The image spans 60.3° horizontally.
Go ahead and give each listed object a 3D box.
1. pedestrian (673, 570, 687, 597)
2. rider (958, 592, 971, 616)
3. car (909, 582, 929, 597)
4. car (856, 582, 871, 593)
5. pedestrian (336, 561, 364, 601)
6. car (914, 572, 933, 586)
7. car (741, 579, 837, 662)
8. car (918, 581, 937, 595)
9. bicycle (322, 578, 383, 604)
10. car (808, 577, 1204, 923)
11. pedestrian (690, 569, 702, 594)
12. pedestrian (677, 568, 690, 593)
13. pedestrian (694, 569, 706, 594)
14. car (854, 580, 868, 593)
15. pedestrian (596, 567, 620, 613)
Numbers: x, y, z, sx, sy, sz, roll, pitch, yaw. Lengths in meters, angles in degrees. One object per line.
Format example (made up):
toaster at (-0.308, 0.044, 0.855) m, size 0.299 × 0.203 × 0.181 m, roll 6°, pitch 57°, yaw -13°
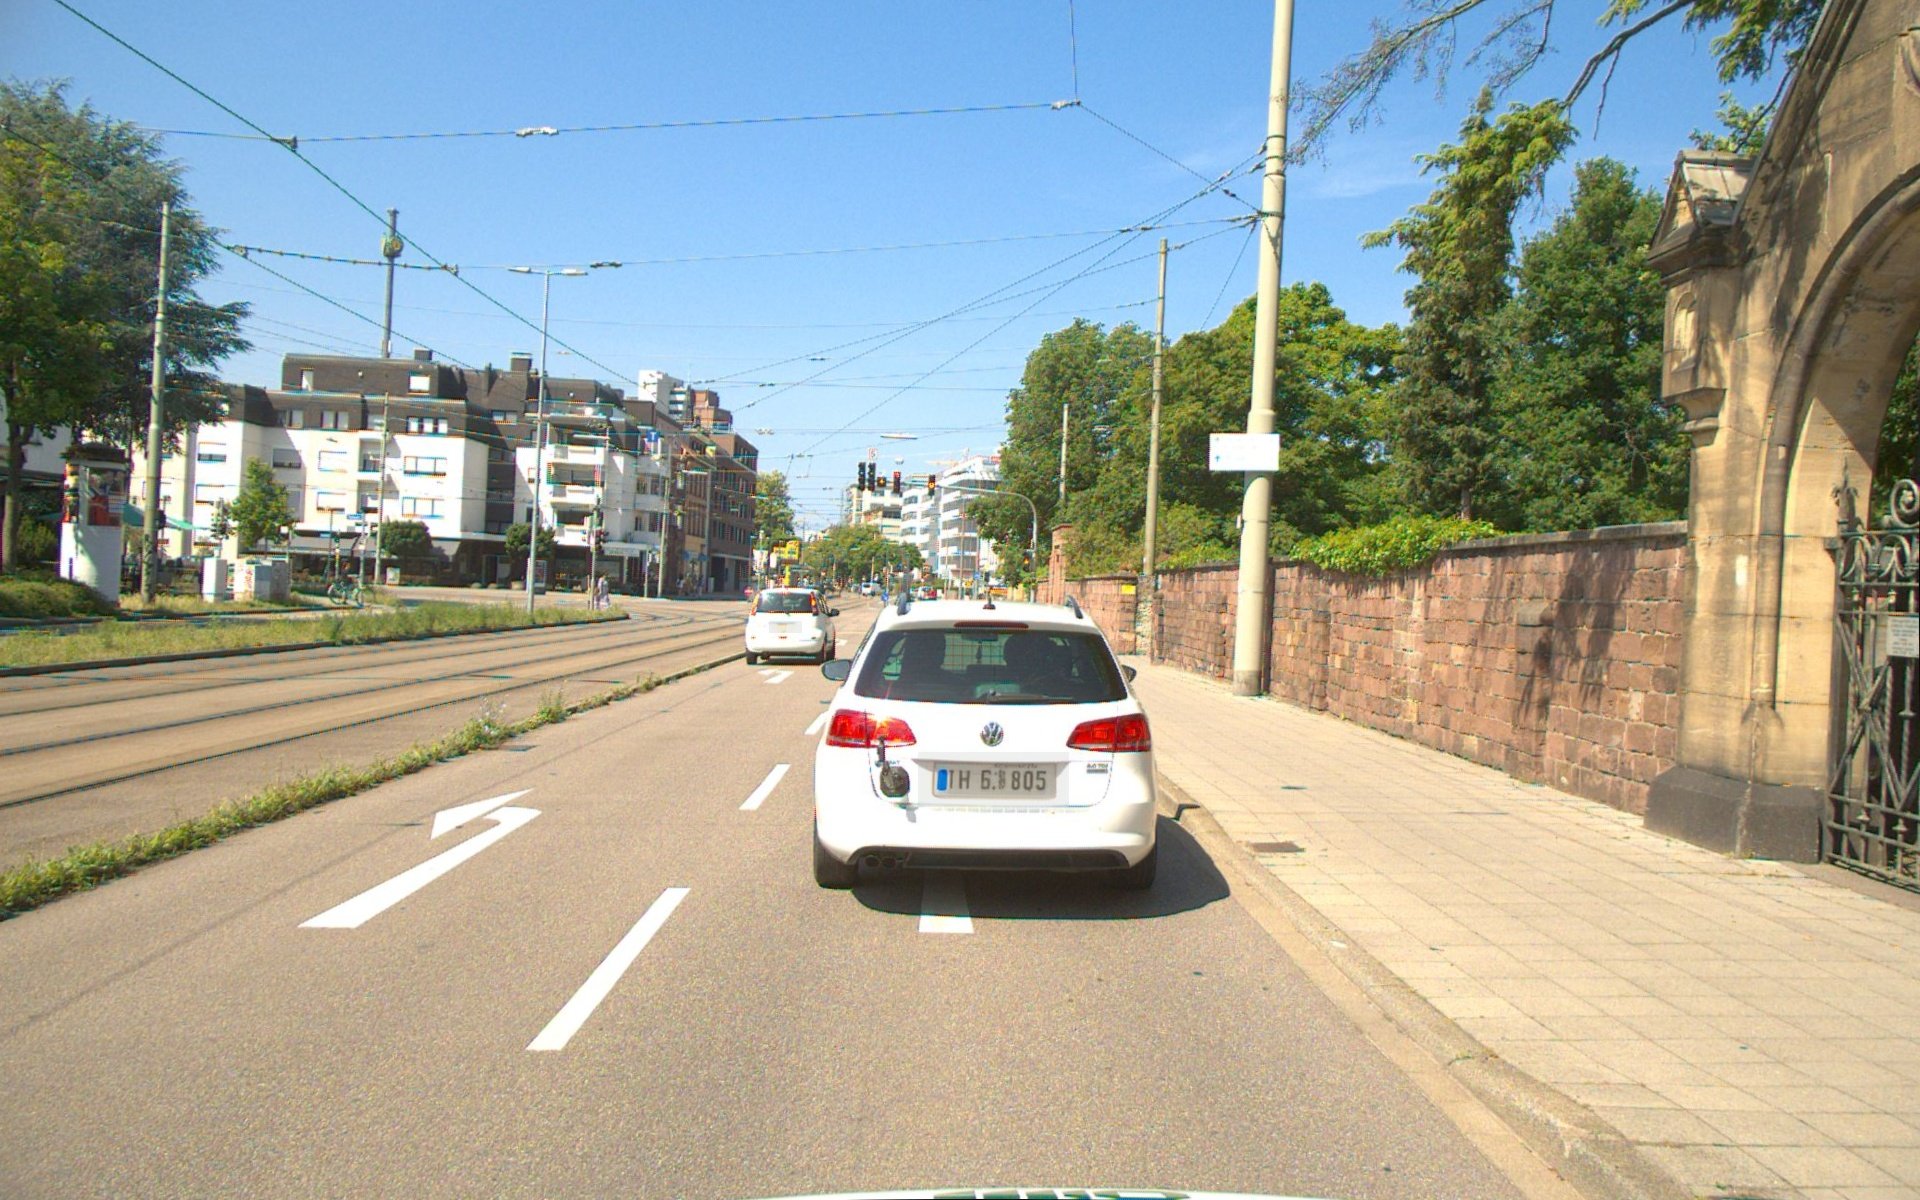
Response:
pedestrian at (-21.889, -1.258, 129.419) m, size 0.918 × 2.049 × 0.990 m, roll 3°, pitch 0°, yaw -5°
rider at (0.297, 0.294, 121.940) m, size 0.873 × 1.758 × 2.203 m, roll 2°, pitch 0°, yaw 0°
car at (-5.603, -1.504, 226.634) m, size 1.958 × 1.937 × 3.989 m, roll 2°, pitch 0°, yaw -11°
car at (-14.232, -1.842, 244.427) m, size 1.668 × 1.618 × 3.525 m, roll 2°, pitch 0°, yaw -11°
pedestrian at (-23.363, -0.725, 63.350) m, size 0.556 × 1.513 × 0.811 m, roll 2°, pitch 0°, yaw 43°
car at (-5.665, -3.249, 257.105) m, size 1.960 × 2.049 × 3.985 m, roll 2°, pitch 0°, yaw -15°
car at (-3.596, 0.394, 35.407) m, size 1.695 × 1.624 × 4.010 m, roll 2°, pitch 0°, yaw -2°
car at (-4.805, -1.786, 242.690) m, size 1.960 × 2.049 × 3.985 m, roll 2°, pitch 0°, yaw -15°
bicycle at (-23.070, -0.334, 62.852) m, size 0.543 × 0.937 × 2.164 m, roll 2°, pitch 0°, yaw 42°
car at (0.197, 0.648, 9.267) m, size 1.742 × 1.516 × 3.846 m, roll 1°, pitch 1°, yaw 0°
pedestrian at (-21.958, -1.562, 137.589) m, size 0.919 × 2.049 × 0.989 m, roll 2°, pitch 0°, yaw -6°
pedestrian at (-22.751, -1.584, 136.065) m, size 0.918 × 2.049 × 0.989 m, roll 2°, pitch 0°, yaw -5°
pedestrian at (-21.221, -1.512, 134.986) m, size 0.919 × 2.049 × 0.989 m, roll 2°, pitch 0°, yaw -7°
car at (-12.941, -1.789, 216.032) m, size 1.664 × 1.619 × 3.533 m, roll 2°, pitch 1°, yaw -2°
pedestrian at (-13.785, -0.390, 64.865) m, size 0.811 × 1.769 × 0.930 m, roll 2°, pitch 0°, yaw -9°
